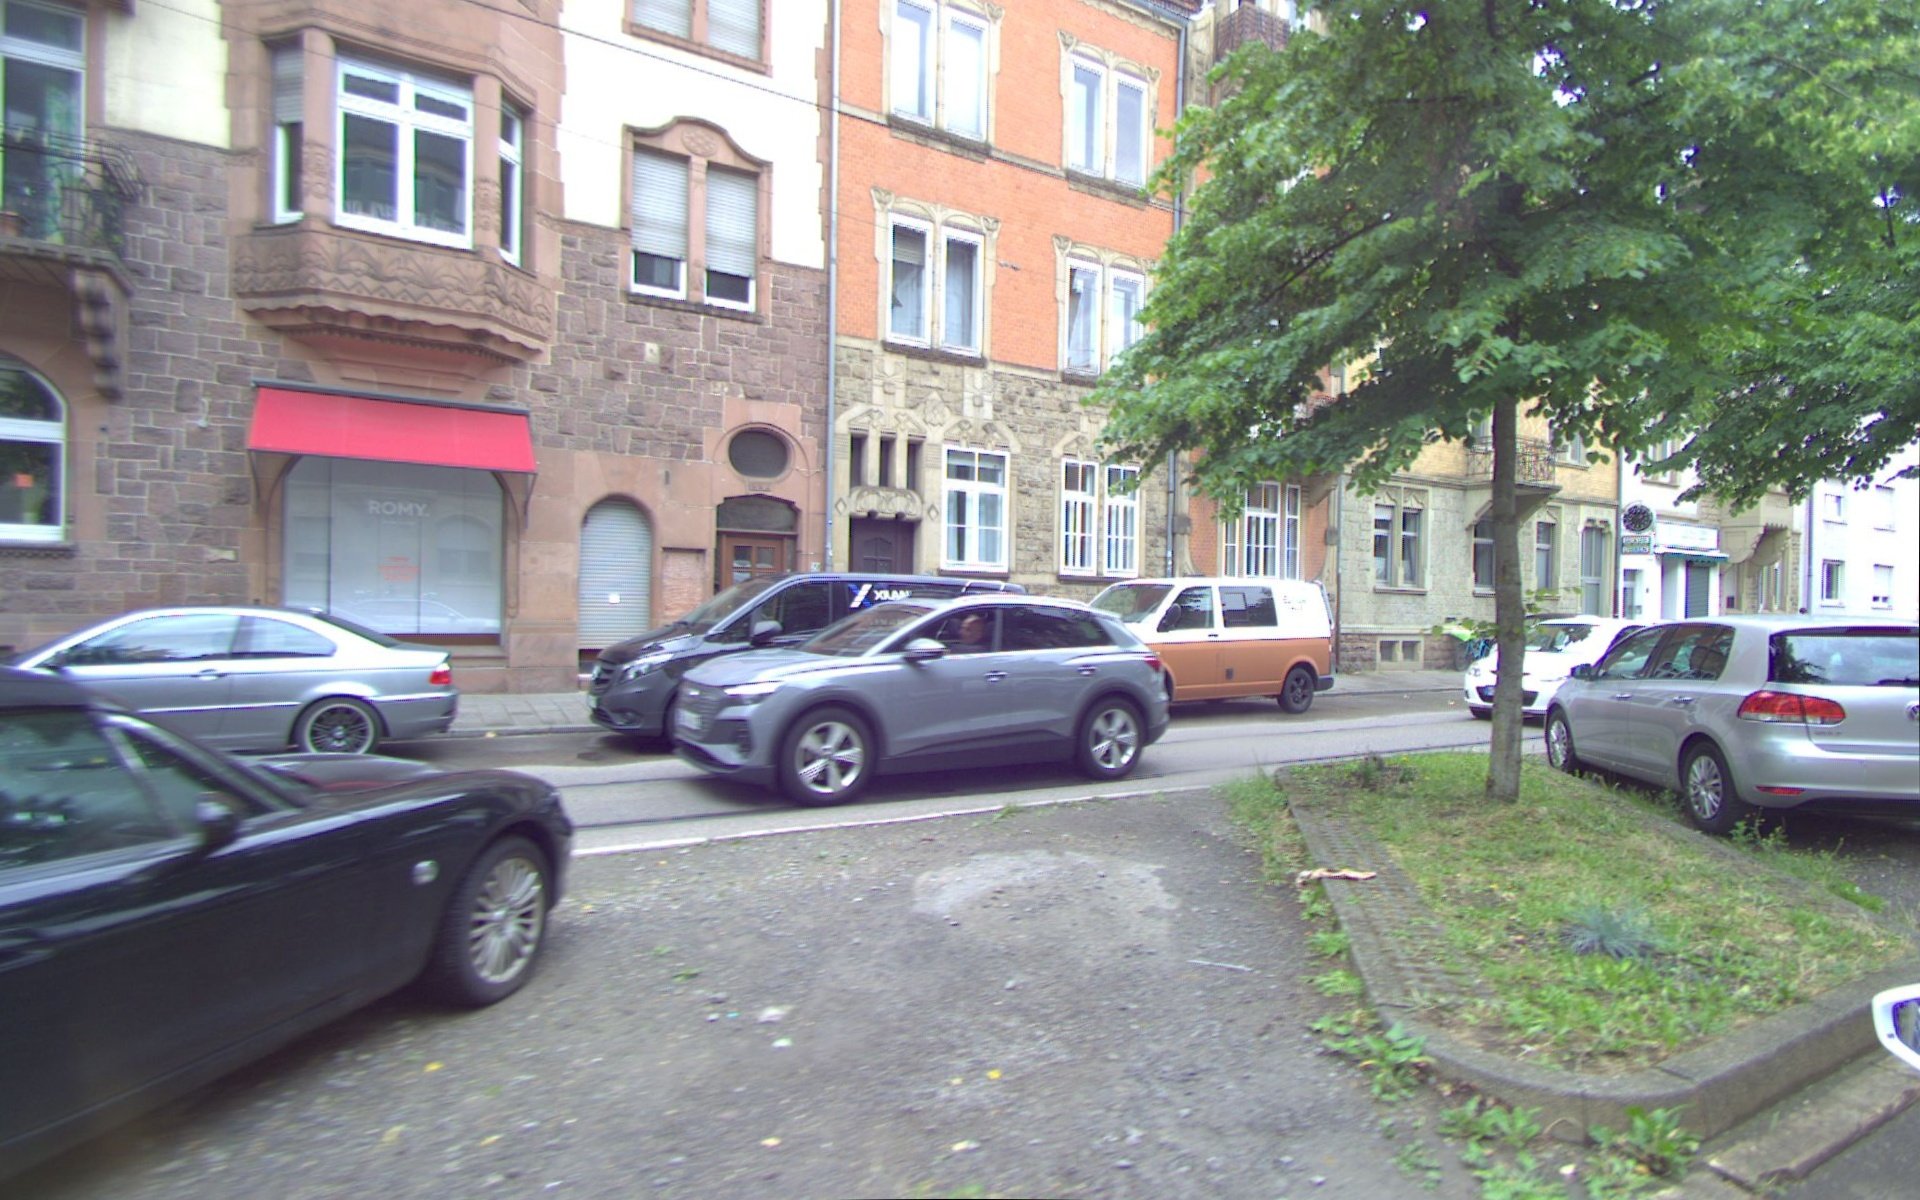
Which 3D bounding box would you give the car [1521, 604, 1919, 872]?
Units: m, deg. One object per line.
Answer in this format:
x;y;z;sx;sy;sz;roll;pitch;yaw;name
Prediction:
6.034;0.808;7.709;1.760;1.504;4.120;1;0;10;car

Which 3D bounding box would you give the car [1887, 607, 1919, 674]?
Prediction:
23.715;0.986;23.748;3.840;1.524;1.635;2;0;-32;car

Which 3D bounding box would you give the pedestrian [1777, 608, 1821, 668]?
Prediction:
25.881;1.159;30.996;0.890;1.790;0.793;1;0;-31;pedestrian

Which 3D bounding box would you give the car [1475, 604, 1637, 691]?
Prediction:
11.938;0.912;20.111;2.918;1.571;1.625;1;0;-32;car

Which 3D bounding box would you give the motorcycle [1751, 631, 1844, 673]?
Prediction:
22.156;1.379;26.583;2.192;1.052;0.709;1;0;-14;motorcycle

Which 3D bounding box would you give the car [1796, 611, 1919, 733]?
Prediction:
12.487;0.890;11.863;1.860;1.454;4.691;1;0;9;car

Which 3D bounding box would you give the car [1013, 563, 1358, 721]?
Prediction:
3.387;0.580;14.699;5.036;1.978;1.871;2;0;-32;car

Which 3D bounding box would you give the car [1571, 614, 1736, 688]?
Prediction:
15.428;1.093;22.310;3.880;1.462;1.625;1;0;-32;car

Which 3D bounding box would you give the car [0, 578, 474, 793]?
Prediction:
-6.701;0.637;8.512;4.502;1.562;1.731;2;0;-32;car

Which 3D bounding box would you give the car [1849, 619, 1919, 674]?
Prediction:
28.078;1.334;29.579;4.520;1.462;1.625;1;0;-32;car

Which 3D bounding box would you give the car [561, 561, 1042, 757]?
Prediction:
-1.656;0.597;11.353;5.060;1.805;1.804;2;0;-32;car

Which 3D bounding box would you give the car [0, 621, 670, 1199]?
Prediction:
-2.492;0.719;2.533;1.634;1.218;3.965;1;0;13;car

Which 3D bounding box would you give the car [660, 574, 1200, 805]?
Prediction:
-0.160;0.668;8.926;4.495;1.600;1.795;2;0;-32;car

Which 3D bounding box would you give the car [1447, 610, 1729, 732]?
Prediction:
9.255;0.973;14.692;4.570;1.524;1.635;2;0;-32;car

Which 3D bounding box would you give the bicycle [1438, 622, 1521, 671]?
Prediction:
12.302;1.092;23.773;2.235;1.087;0.707;1;0;-33;bicycle
